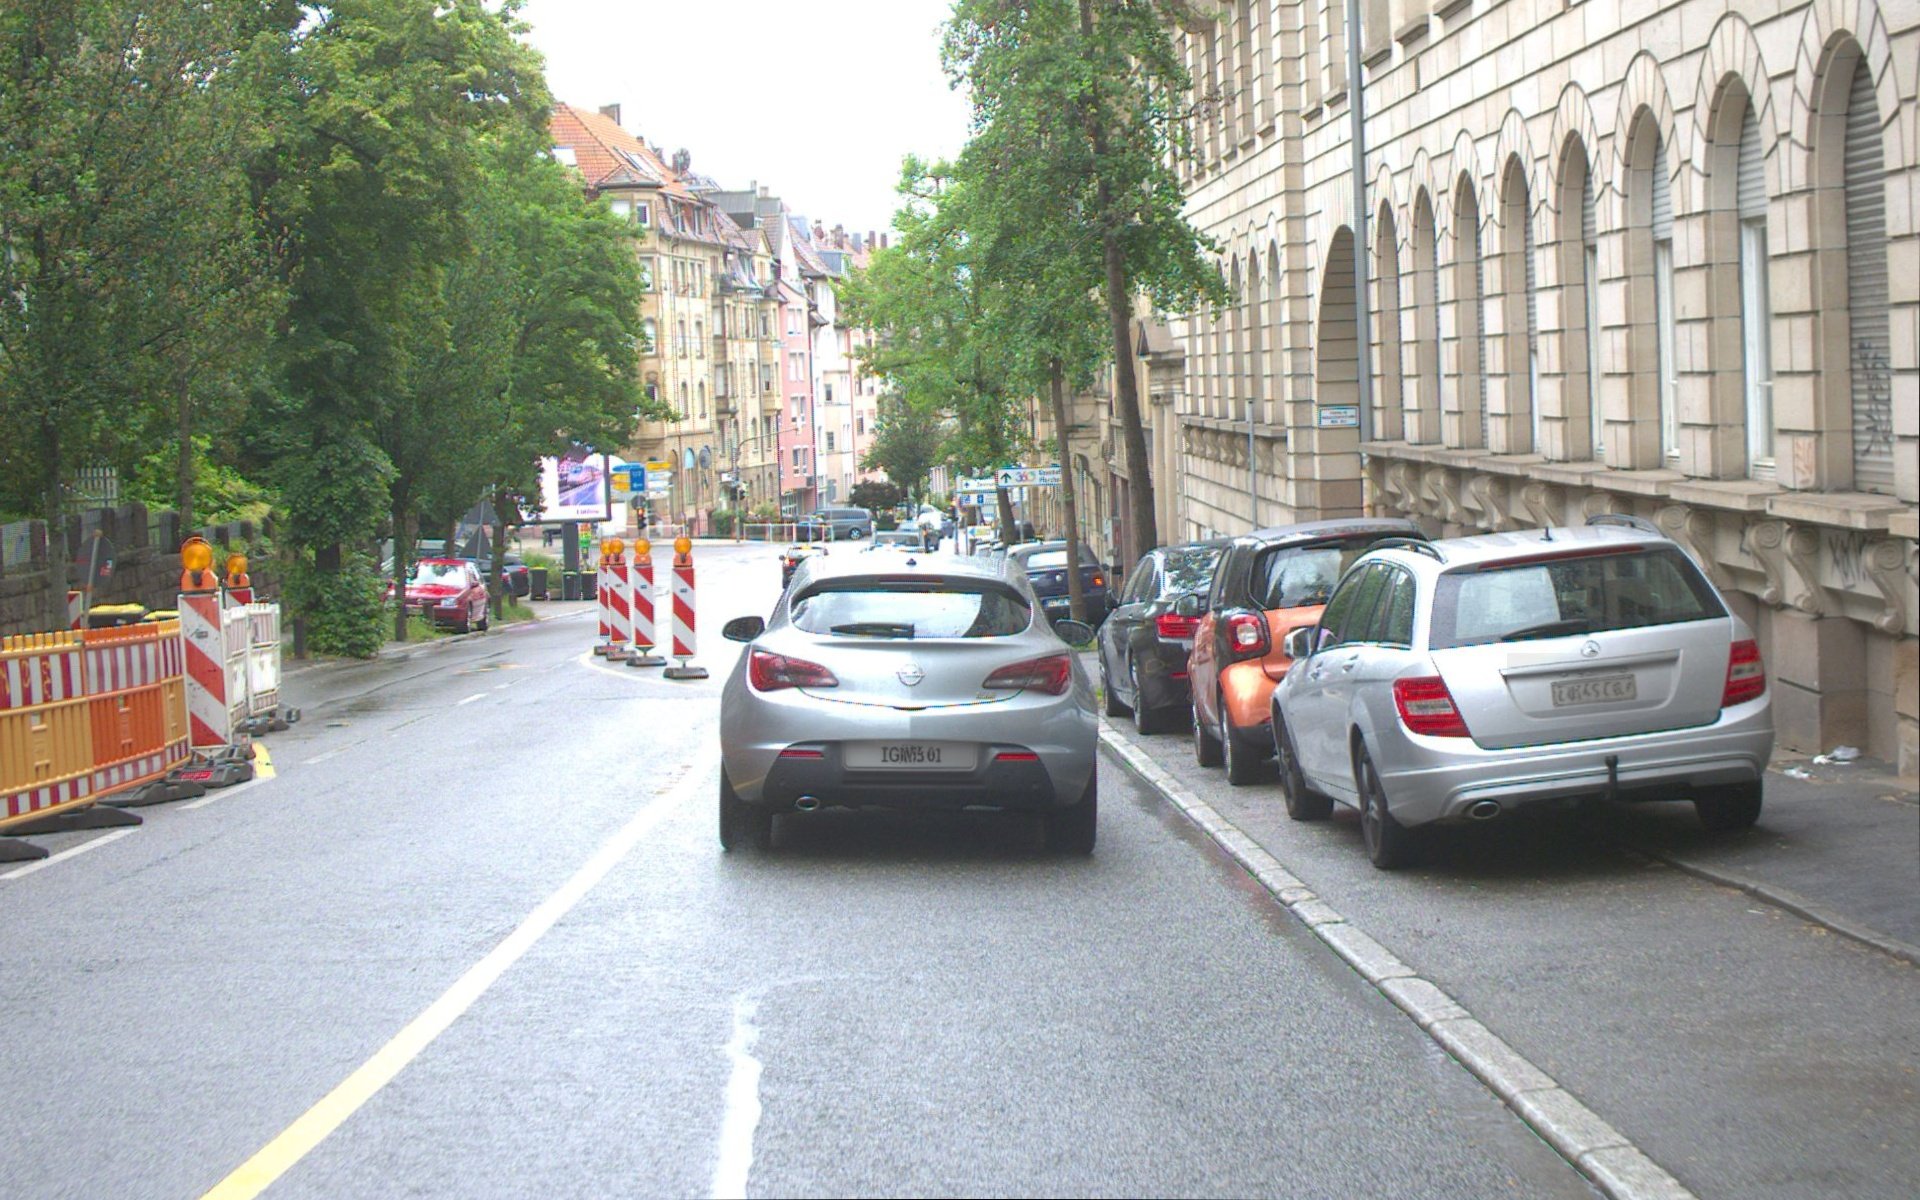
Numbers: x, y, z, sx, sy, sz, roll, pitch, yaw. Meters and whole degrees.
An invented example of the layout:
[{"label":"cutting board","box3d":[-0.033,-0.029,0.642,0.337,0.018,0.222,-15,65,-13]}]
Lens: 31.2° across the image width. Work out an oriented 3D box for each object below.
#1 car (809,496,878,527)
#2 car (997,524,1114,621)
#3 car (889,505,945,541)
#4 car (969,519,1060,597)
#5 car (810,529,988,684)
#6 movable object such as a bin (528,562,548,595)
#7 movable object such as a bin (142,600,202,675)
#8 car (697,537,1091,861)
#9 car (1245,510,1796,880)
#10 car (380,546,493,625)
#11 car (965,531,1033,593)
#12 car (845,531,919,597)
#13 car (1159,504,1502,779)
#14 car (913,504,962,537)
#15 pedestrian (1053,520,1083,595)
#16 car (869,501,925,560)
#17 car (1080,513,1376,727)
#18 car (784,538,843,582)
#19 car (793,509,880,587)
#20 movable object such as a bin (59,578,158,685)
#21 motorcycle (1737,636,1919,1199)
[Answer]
[{"label":"car","box3d":[-6.871,-5.210,203.216,3.987,1.744,2.000,1,1,-1]},{"label":"car","box3d":[1.492,-0.461,54.688,1.637,1.424,3.377,-2,1,-2]},{"label":"car","box3d":[-2.064,-3.673,164.418,1.994,1.678,3.999,1,1,9]},{"label":"car","box3d":[1.165,-0.927,74.632,1.637,1.597,3.858,-2,1,-3]},{"label":"car","box3d":[-0.597,0.023,36.106,1.772,1.499,3.869,0,2,0]},{"label":"movable object such as a bin","box3d":[-13.705,-0.713,111.551,0.625,1.055,0.634,1,1,-7]},{"label":"movable object such as a bin","box3d":[-9.722,0.459,42.424,0.604,0.904,0.624,0,1,0]},{"label":"car","box3d":[-0.300,0.421,17.773,1.811,1.444,3.869,0,2,0]},{"label":"car","box3d":[2.537,0.346,16.621,1.695,1.426,4.423,-4,1,-2]},{"label":"car","box3d":[-10.400,-0.314,68.560,1.637,1.434,4.080,-2,1,-1]},{"label":"car","box3d":[0.991,-1.003,89.395,1.637,1.519,3.858,-2,1,-1]},{"label":"car","box3d":[-1.995,-0.931,87.188,1.656,1.537,3.666,-4,1,-3]},{"label":"car","box3d":[2.294,0.211,22.025,1.638,1.515,3.184,-4,1,-2]},{"label":"car","box3d":[-1.208,-4.282,185.380,1.994,1.678,3.999,1,1,9]},{"label":"pedestrian","box3d":[2.732,-1.073,86.897,0.716,1.863,0.636,0,0,-1]},{"label":"car","box3d":[-1.928,-2.141,105.846,1.656,1.776,3.666,-1,1,-1]},{"label":"car","box3d":[2.075,0.093,27.850,1.757,1.456,4.724,-4,1,-2]},{"label":"car","box3d":[-5.151,-1.421,121.046,1.993,1.495,4.000,-1,1,-2]},{"label":"car","box3d":[-2.638,-1.137,74.048,1.656,1.537,3.665,-3,1,0]},{"label":"movable object such as a bin","box3d":[-9.913,0.363,40.043,0.945,1.210,0.856,0,1,0]},{"label":"motorcycle","box3d":[2.324,0.644,6.193,1.933,1.231,0.657,-5,3,-37]}]
